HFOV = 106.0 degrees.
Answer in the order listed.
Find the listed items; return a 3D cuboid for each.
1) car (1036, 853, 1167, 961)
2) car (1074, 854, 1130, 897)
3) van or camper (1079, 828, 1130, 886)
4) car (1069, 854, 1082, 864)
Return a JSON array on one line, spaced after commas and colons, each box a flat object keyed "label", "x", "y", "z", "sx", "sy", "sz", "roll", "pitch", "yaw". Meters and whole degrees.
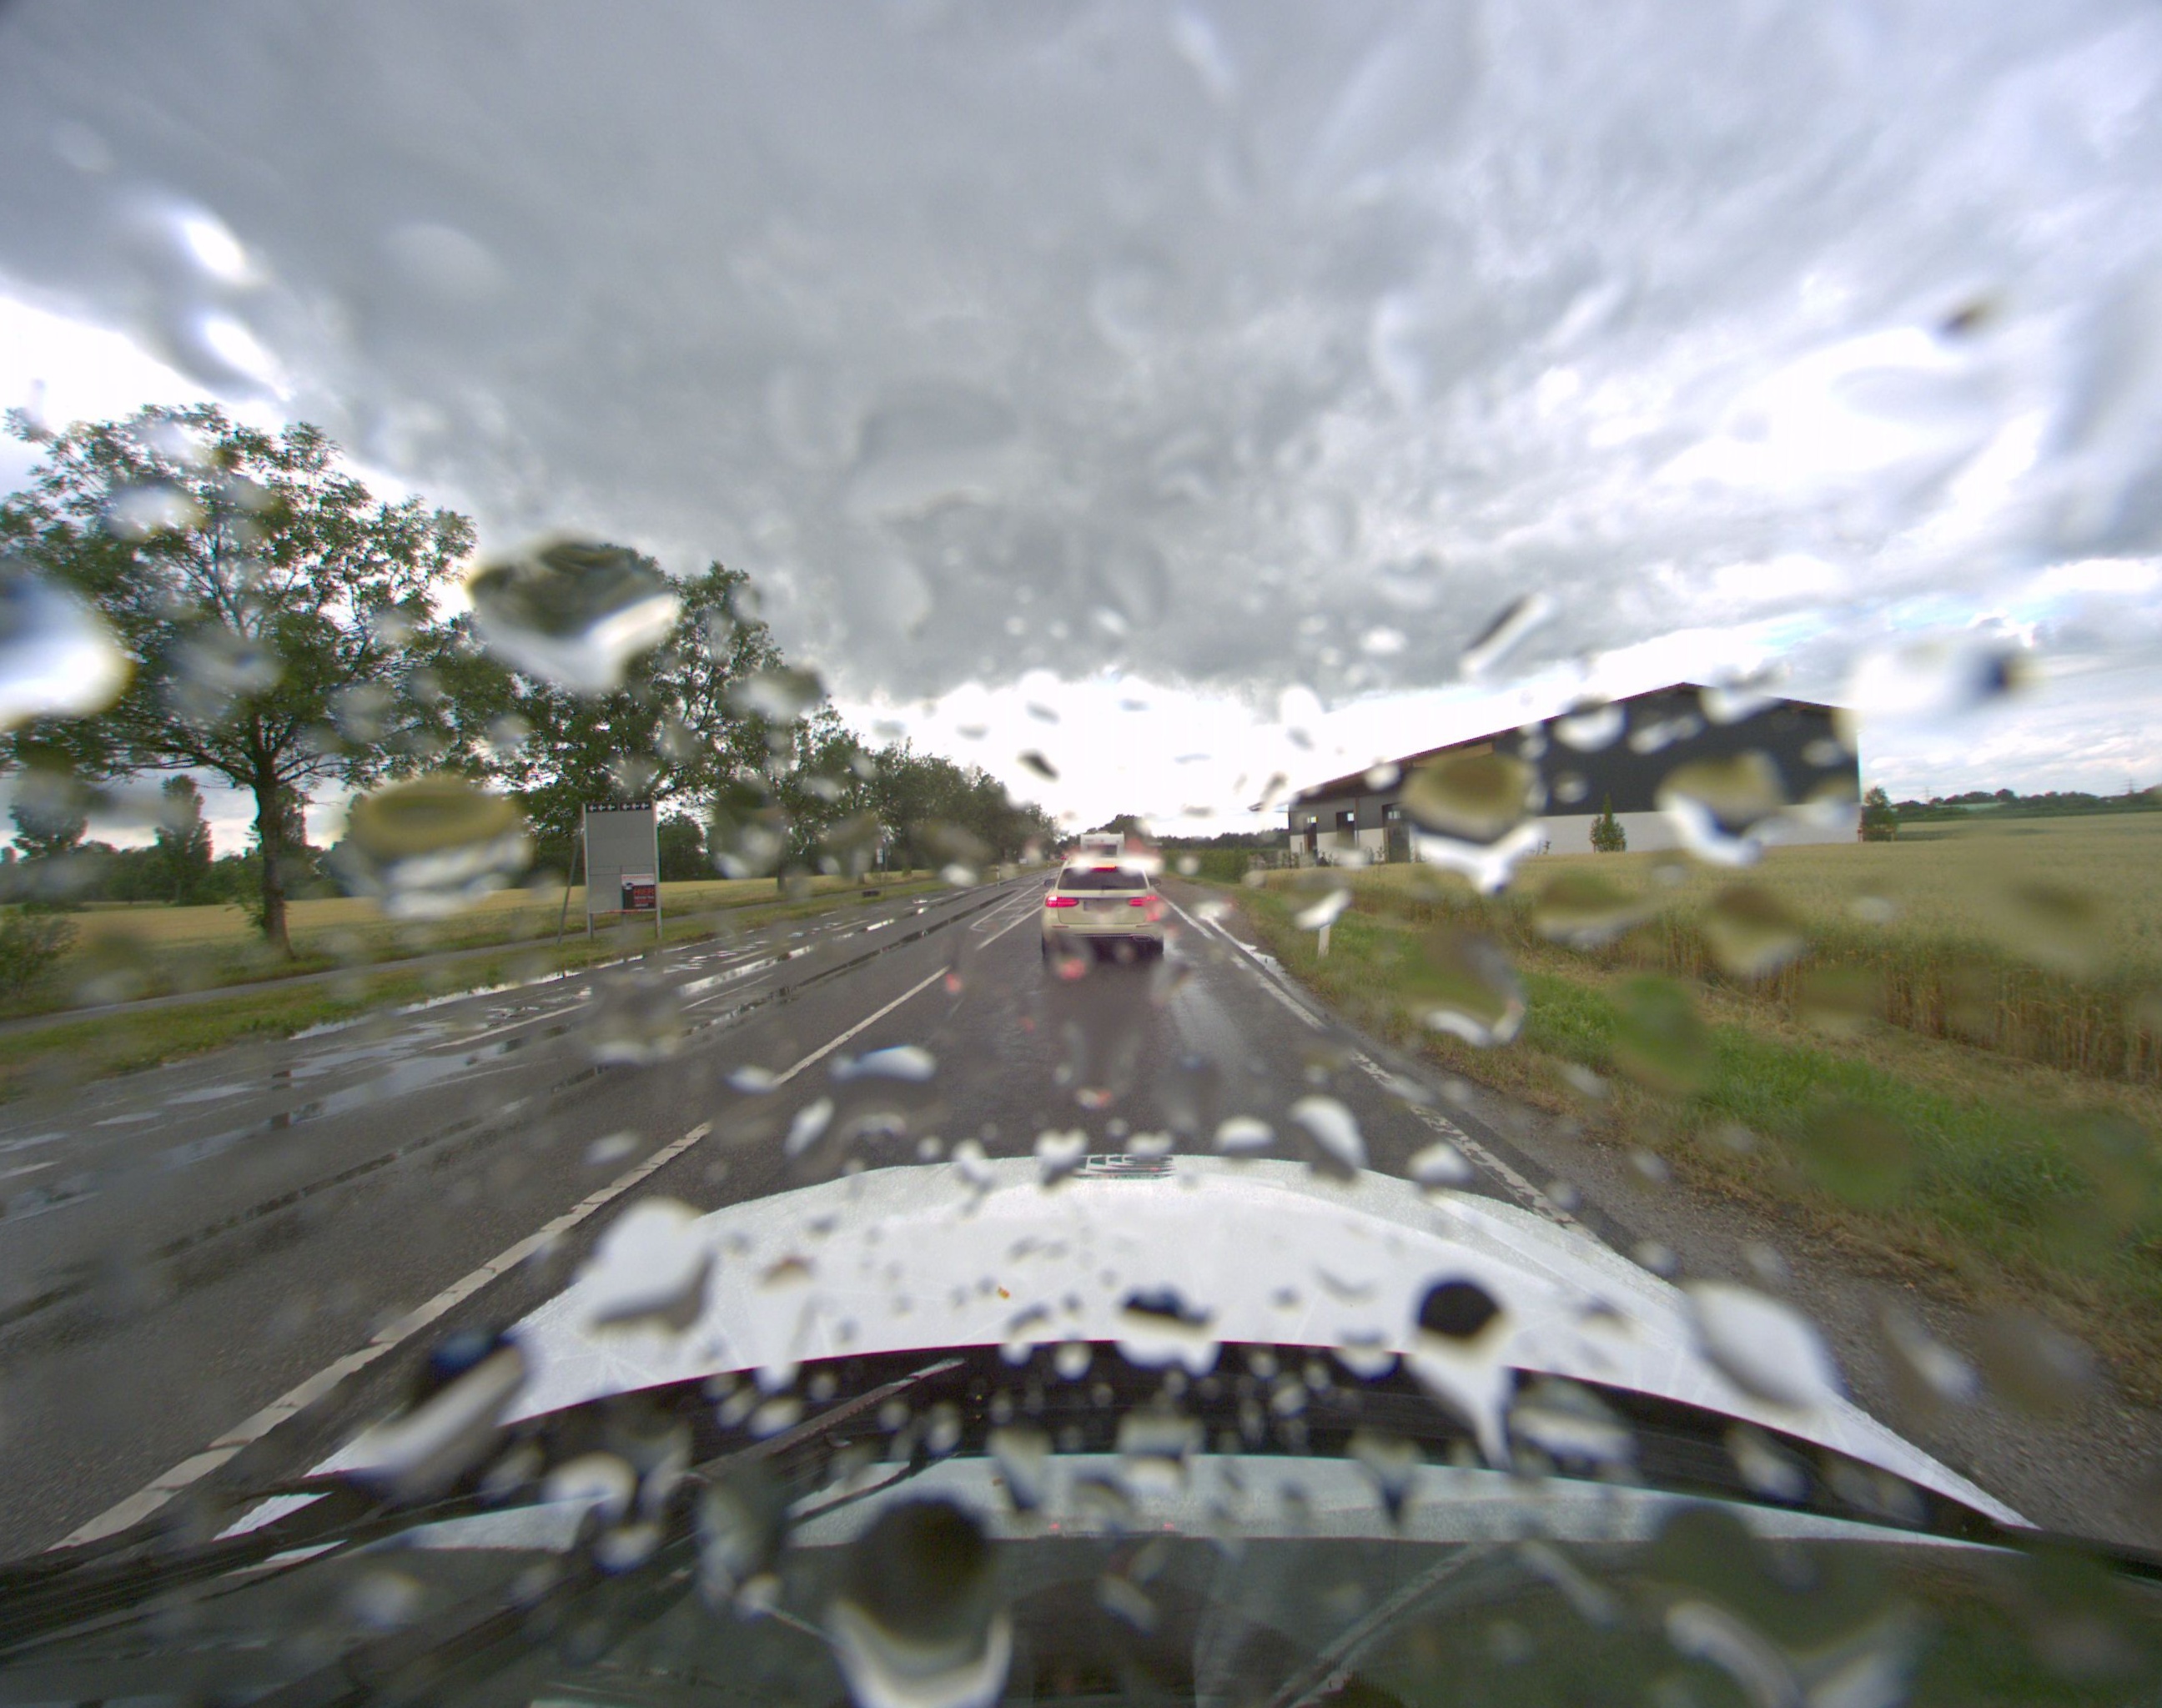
[{"label": "car", "x": 0.360, "y": 0.739, "z": 13.342, "sx": 1.790, "sy": 1.464, "sz": 4.033, "roll": -1, "pitch": 0, "yaw": 2}, {"label": "car", "x": 0.752, "y": 0.740, "z": 29.808, "sx": 1.888, "sy": 1.429, "sz": 3.928, "roll": -1, "pitch": 0, "yaw": 1}, {"label": "van or camper", "x": 1.328, "y": 0.133, "z": 44.581, "sx": 2.487, "sy": 2.831, "sz": 5.937, "roll": -3, "pitch": 0, "yaw": 2}, {"label": "car", "x": -0.898, "y": 0.837, "z": 134.150, "sx": 1.909, "sy": 1.632, "sz": 4.358, "roll": -3, "pitch": 0, "yaw": 1}]
